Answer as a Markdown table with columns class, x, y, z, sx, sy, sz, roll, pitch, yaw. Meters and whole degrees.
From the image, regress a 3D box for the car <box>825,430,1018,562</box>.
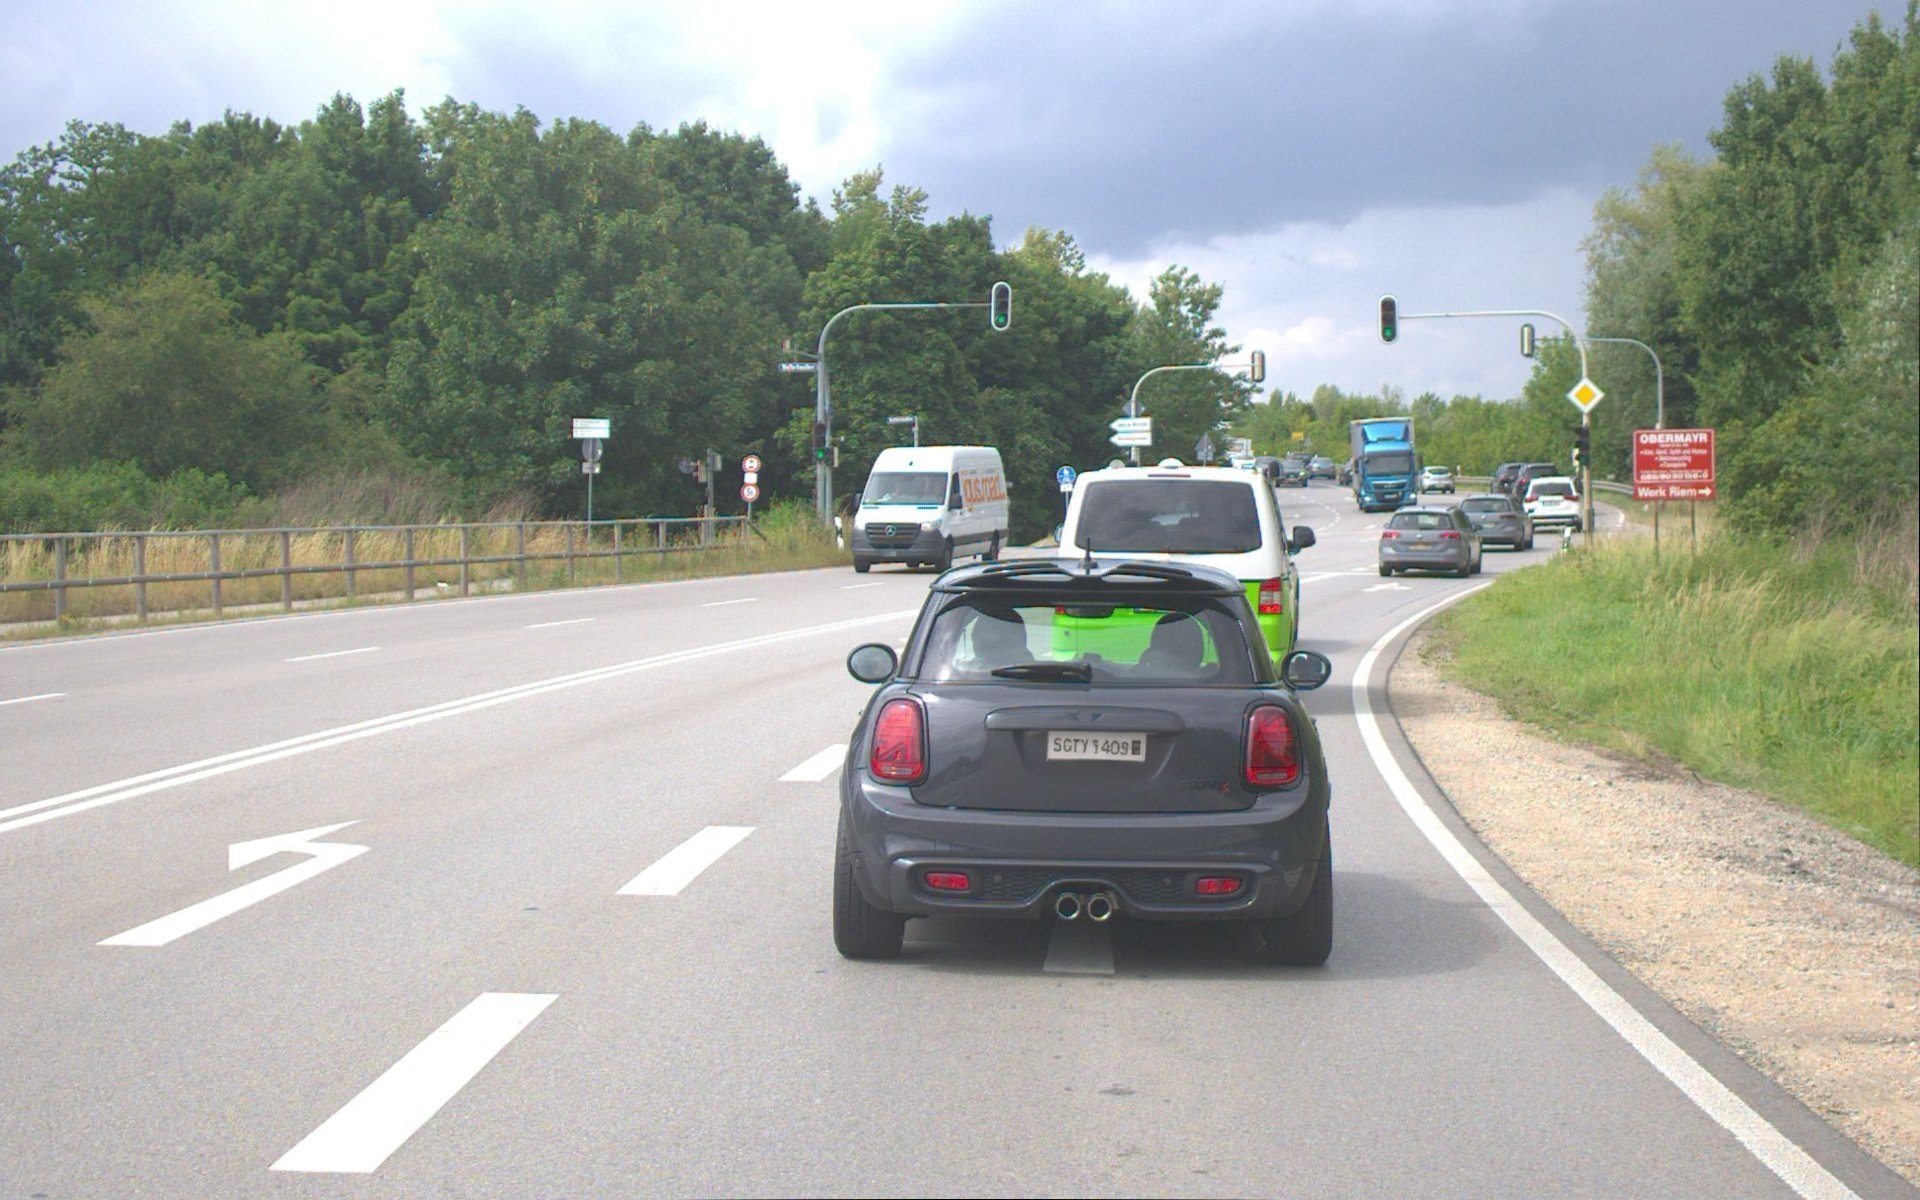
| class | x | y | z | sx | sy | sz | roll | pitch | yaw |
| --- | --- | --- | --- | --- | --- | --- | --- | --- | --- |
| car | -0.733 | -2.198 | 73.295 | 2.435 | 2.665 | 6.884 | 1 | 2 | 14 |

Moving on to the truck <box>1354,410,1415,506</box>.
| class | x | y | z | sx | sy | sz | roll | pitch | yaw |
| --- | --- | --- | --- | --- | --- | --- | --- | --- | --- |
| truck | 18.395 | -6.134 | 148.751 | 2.540 | 4.082 | 3.999 | 0 | 2 | 8 |

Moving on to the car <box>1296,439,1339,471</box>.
| class | x | y | z | sx | sy | sz | roll | pitch | yaw |
| --- | --- | --- | --- | --- | --- | --- | --- | --- | --- |
| car | 23.935 | -9.696 | 230.234 | 2.180 | 2.007 | 4.000 | 1 | 0 | -3 |

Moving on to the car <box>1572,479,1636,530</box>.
| class | x | y | z | sx | sy | sz | roll | pitch | yaw |
| --- | --- | --- | --- | --- | --- | --- | --- | --- | --- |
| car | 23.257 | -3.442 | 124.029 | 1.995 | 1.678 | 3.997 | 2 | 0 | 14 |

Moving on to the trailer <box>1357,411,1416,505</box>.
| class | x | y | z | sx | sy | sz | roll | pitch | yaw |
| --- | --- | --- | --- | --- | --- | --- | --- | --- | --- |
| trailer | 18.871 | -6.253 | 152.246 | 2.528 | 4.086 | 6.734 | 0 | 2 | 7 |

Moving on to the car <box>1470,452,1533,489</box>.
| class | x | y | z | sx | sy | sz | roll | pitch | yaw |
| --- | --- | --- | --- | --- | --- | --- | --- | --- | --- |
| car | 25.018 | -5.992 | 159.073 | 1.993 | 1.690 | 4.486 | 0 | 2 | -3 |

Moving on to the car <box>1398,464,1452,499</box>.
| class | x | y | z | sx | sy | sz | roll | pitch | yaw |
| --- | --- | --- | --- | --- | --- | --- | --- | --- | --- |
| car | 24.252 | -6.183 | 179.470 | 1.993 | 1.781 | 4.486 | 0 | 2 | -3 |

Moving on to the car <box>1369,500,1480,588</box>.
| class | x | y | z | sx | sy | sz | roll | pitch | yaw |
| --- | --- | --- | --- | --- | --- | --- | --- | --- | --- |
| car | 9.524 | -1.125 | 70.267 | 1.994 | 1.678 | 3.998 | 2 | 0 | 11 |

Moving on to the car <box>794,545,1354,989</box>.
| class | x | y | z | sx | sy | sz | roll | pitch | yaw |
| --- | --- | --- | --- | --- | --- | --- | --- | --- | --- |
| car | 0.432 | 0.524 | 13.362 | 1.845 | 1.423 | 3.841 | 1 | 1 | 2 |

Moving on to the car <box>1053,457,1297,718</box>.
| class | x | y | z | sx | sy | sz | roll | pitch | yaw |
| --- | --- | --- | --- | --- | --- | --- | --- | --- | --- |
| car | 1.822 | -0.172 | 28.293 | 1.845 | 1.980 | 3.841 | 1 | 2 | 5 |

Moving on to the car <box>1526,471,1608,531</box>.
| class | x | y | z | sx | sy | sz | roll | pitch | yaw |
| --- | --- | --- | --- | --- | --- | --- | --- | --- | --- |
| car | 18.490 | -3.005 | 104.592 | 1.995 | 1.678 | 3.997 | 2 | 0 | 16 |

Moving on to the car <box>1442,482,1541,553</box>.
| class | x | y | z | sx | sy | sz | roll | pitch | yaw |
| --- | --- | --- | --- | --- | --- | --- | --- | --- | --- |
| car | 13.662 | -2.094 | 88.217 | 1.995 | 1.678 | 3.974 | 2 | 0 | 16 |

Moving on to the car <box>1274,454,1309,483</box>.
| class | x | y | z | sx | sy | sz | roll | pitch | yaw |
| --- | --- | --- | --- | --- | --- | --- | --- | --- | --- |
| car | 24.072 | -9.535 | 249.615 | 1.993 | 2.007 | 4.000 | 1 | 0 | -2 |
